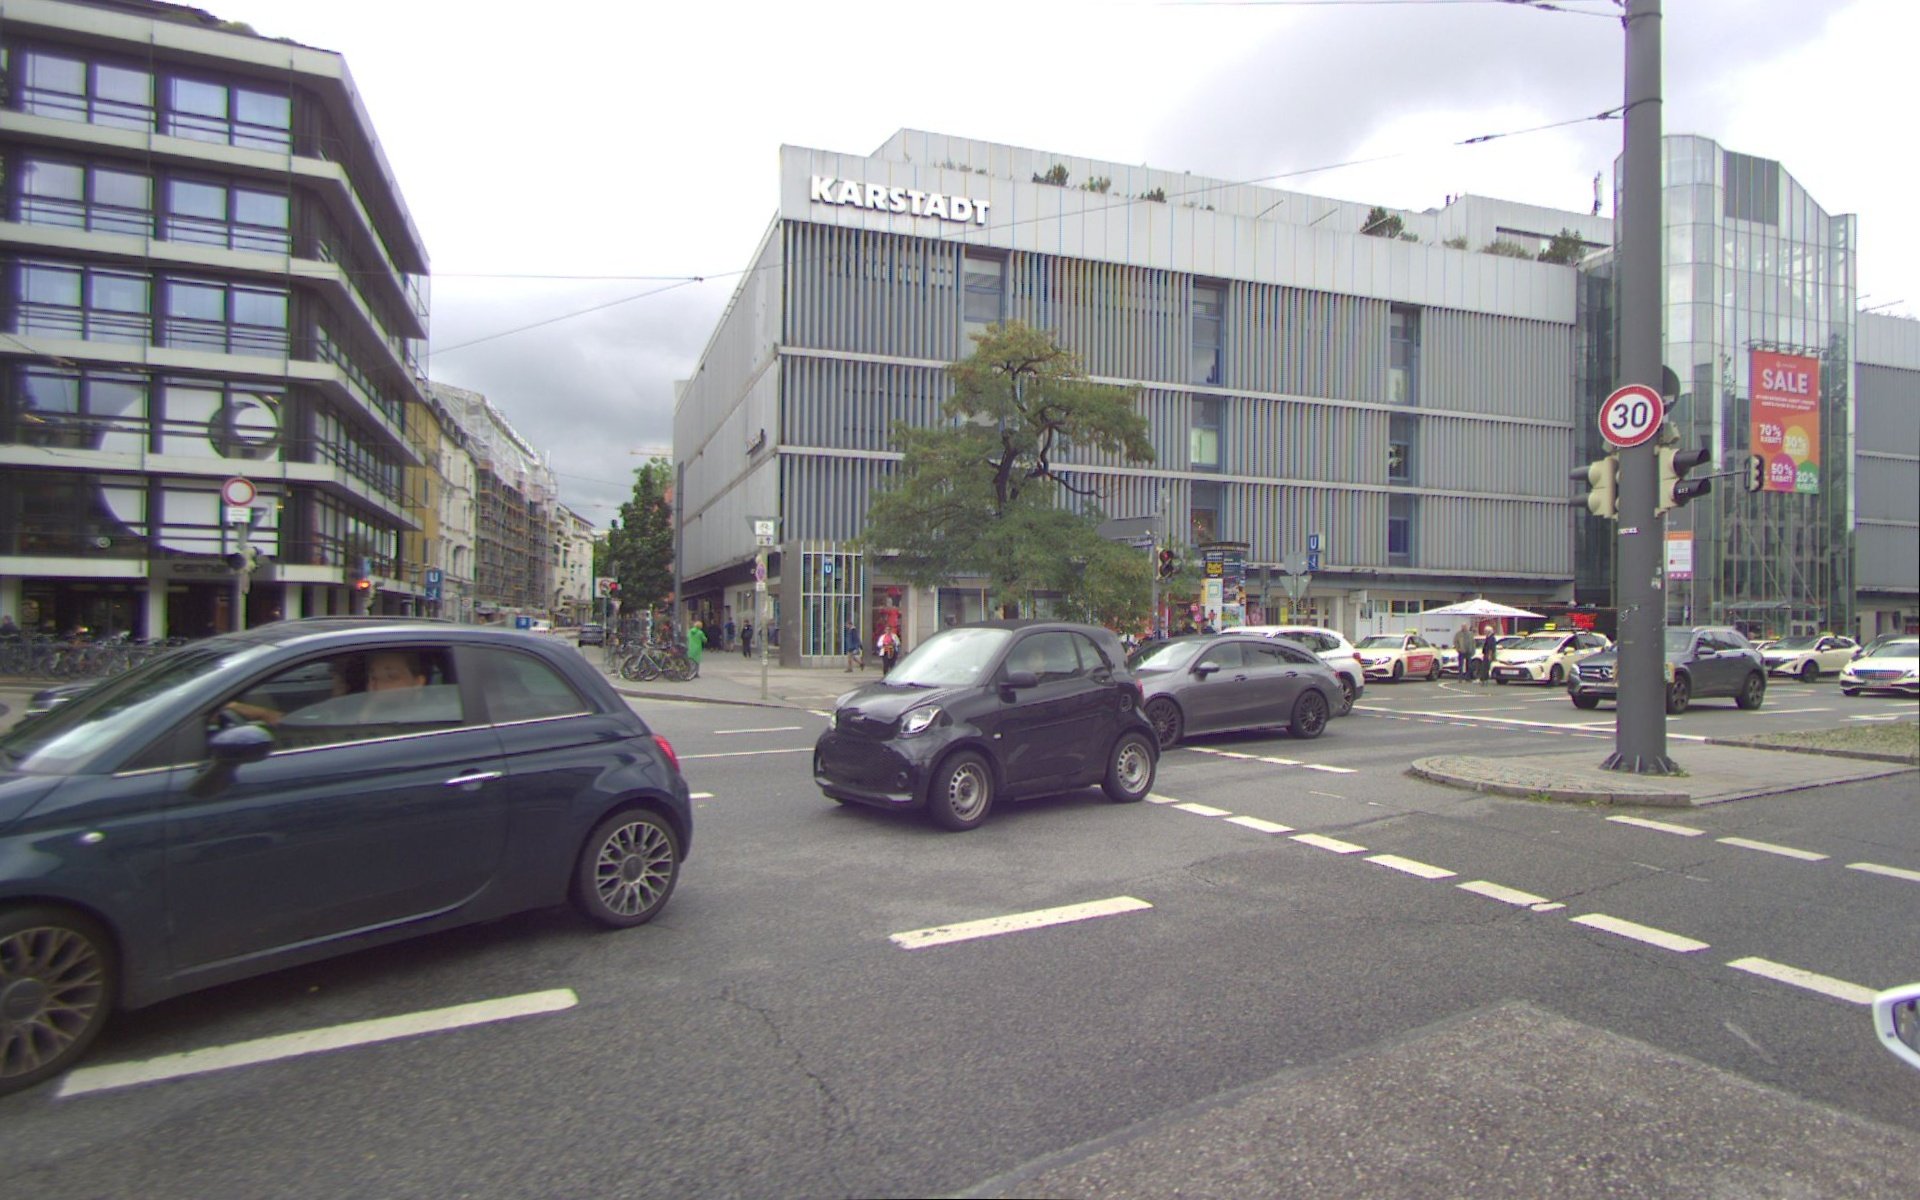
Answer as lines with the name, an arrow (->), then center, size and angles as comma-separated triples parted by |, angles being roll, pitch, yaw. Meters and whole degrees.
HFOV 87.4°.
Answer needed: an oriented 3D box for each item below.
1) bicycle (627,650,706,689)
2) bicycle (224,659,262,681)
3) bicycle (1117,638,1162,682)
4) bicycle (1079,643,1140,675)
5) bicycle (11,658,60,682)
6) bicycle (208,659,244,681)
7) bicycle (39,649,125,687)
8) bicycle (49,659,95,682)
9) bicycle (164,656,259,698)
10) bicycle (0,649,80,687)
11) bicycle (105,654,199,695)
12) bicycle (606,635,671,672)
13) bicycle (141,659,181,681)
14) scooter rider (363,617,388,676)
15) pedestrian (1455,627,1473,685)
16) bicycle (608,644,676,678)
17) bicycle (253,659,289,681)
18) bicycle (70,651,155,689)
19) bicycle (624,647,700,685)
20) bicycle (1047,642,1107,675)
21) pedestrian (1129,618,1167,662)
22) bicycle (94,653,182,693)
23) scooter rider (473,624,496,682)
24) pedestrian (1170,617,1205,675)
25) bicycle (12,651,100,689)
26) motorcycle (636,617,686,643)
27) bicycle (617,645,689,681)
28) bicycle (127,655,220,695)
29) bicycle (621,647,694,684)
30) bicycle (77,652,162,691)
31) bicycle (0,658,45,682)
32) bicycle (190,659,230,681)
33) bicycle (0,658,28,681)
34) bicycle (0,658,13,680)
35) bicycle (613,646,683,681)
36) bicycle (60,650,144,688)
bicycle -> -7.984, 1.894, 27.358 | 1.963, 1.011, 0.524 | 3, -2, -30
bicycle -> -23.105, 2.253, 32.375 | 0.422, 0.641, 1.630 | 1, -2, -15
bicycle -> 4.870, 1.623, 27.340 | 0.368, 1.126, 1.569 | 1, -1, -25
bicycle -> 5.942, 2.323, 40.113 | 1.042, 1.172, 3.493 | 1, -2, -16
bicycle -> -28.092, 2.122, 30.530 | 0.357, 0.641, 1.630 | 1, -2, -15
bicycle -> -23.551, 2.241, 32.252 | 0.357, 0.641, 1.630 | 1, -2, -15
bicycle -> -23.159, 1.770, 26.520 | 0.446, 0.952, 1.732 | 1, -2, 14
bicycle -> -27.274, 2.143, 30.863 | 0.357, 0.641, 1.630 | 1, -2, -15
bicycle -> -17.663, 1.810, 23.746 | 0.448, 0.952, 1.723 | -1, -3, 39
bicycle -> -24.364, 1.790, 26.615 | 0.446, 0.952, 1.732 | 1, -2, 5
bicycle -> -19.978, 1.832, 24.872 | 0.448, 0.952, 1.724 | 0, -3, 38
bicycle -> -10.393, 1.743, 32.492 | 1.871, 1.126, 0.582 | 3, -2, -30
bicycle -> -25.203, 2.197, 31.703 | 0.357, 0.641, 1.630 | 1, -2, -15
scooter rider -> -18.608, 1.481, 31.962 | 0.601, 1.863, 0.552 | 1, -1, -24
pedestrian -> 15.556, 1.730, 31.003 | 0.348, 1.783, 0.447 | 0, -1, 6
bicycle -> -10.108, 1.944, 31.960 | 1.963, 1.011, 0.524 | 3, -2, -30
bicycle -> -22.394, 2.272, 32.649 | 0.422, 0.641, 1.630 | 1, -2, -15
bicycle -> -22.005, 1.806, 26.122 | 0.446, 0.952, 1.732 | 1, -2, 12
bicycle -> -8.422, 1.874, 28.442 | 1.963, 1.011, 0.524 | 3, -2, -30
bicycle -> 4.573, 2.287, 39.663 | 1.042, 1.172, 3.493 | 1, -2, -16
pedestrian -> 5.635, 1.184, 30.095 | 1.032, 1.292, 0.542 | 1, -1, -29
bicycle -> -20.898, 1.842, 25.572 | 0.446, 0.952, 1.731 | 0, -2, 20
scooter rider -> -15.677, 1.736, 33.107 | 0.658, 1.859, 0.616 | 1, -1, -26
pedestrian -> 6.727, 1.355, 29.753 | 0.740, 1.676, 0.770 | 1, -1, -19
bicycle -> -23.702, 1.810, 26.377 | 0.446, 0.952, 1.732 | 1, -2, 14
motorcycle -> -25.349, 2.549, 85.306 | 3.860, 2.188, 1.173 | 1, -1, -7
bicycle -> -9.193, 1.904, 30.079 | 1.963, 1.011, 0.524 | 3, -2, -30
bicycle -> -19.425, 1.848, 24.836 | 0.448, 0.952, 1.723 | -1, -3, 40
bicycle -> -8.841, 1.919, 29.382 | 1.963, 1.011, 0.524 | 3, -2, -30
bicycle -> -21.515, 1.823, 25.748 | 0.446, 0.952, 1.732 | 1, -2, 12
bicycle -> -28.477, 2.111, 30.443 | 0.357, 0.641, 1.630 | 1, -2, -15
bicycle -> -23.970, 2.230, 32.127 | 0.422, 0.641, 1.630 | 1, -2, -15
bicycle -> -28.872, 2.101, 30.296 | 0.357, 0.641, 1.630 | 1, -2, -15
bicycle -> -29.222, 2.091, 30.190 | 0.357, 0.641, 1.630 | 1, -2, -15
bicycle -> -9.568, 1.967, 30.861 | 1.963, 1.011, 0.524 | 3, -2, -30
bicycle -> -22.484, 1.791, 26.364 | 0.446, 0.952, 1.732 | 1, -2, 12
